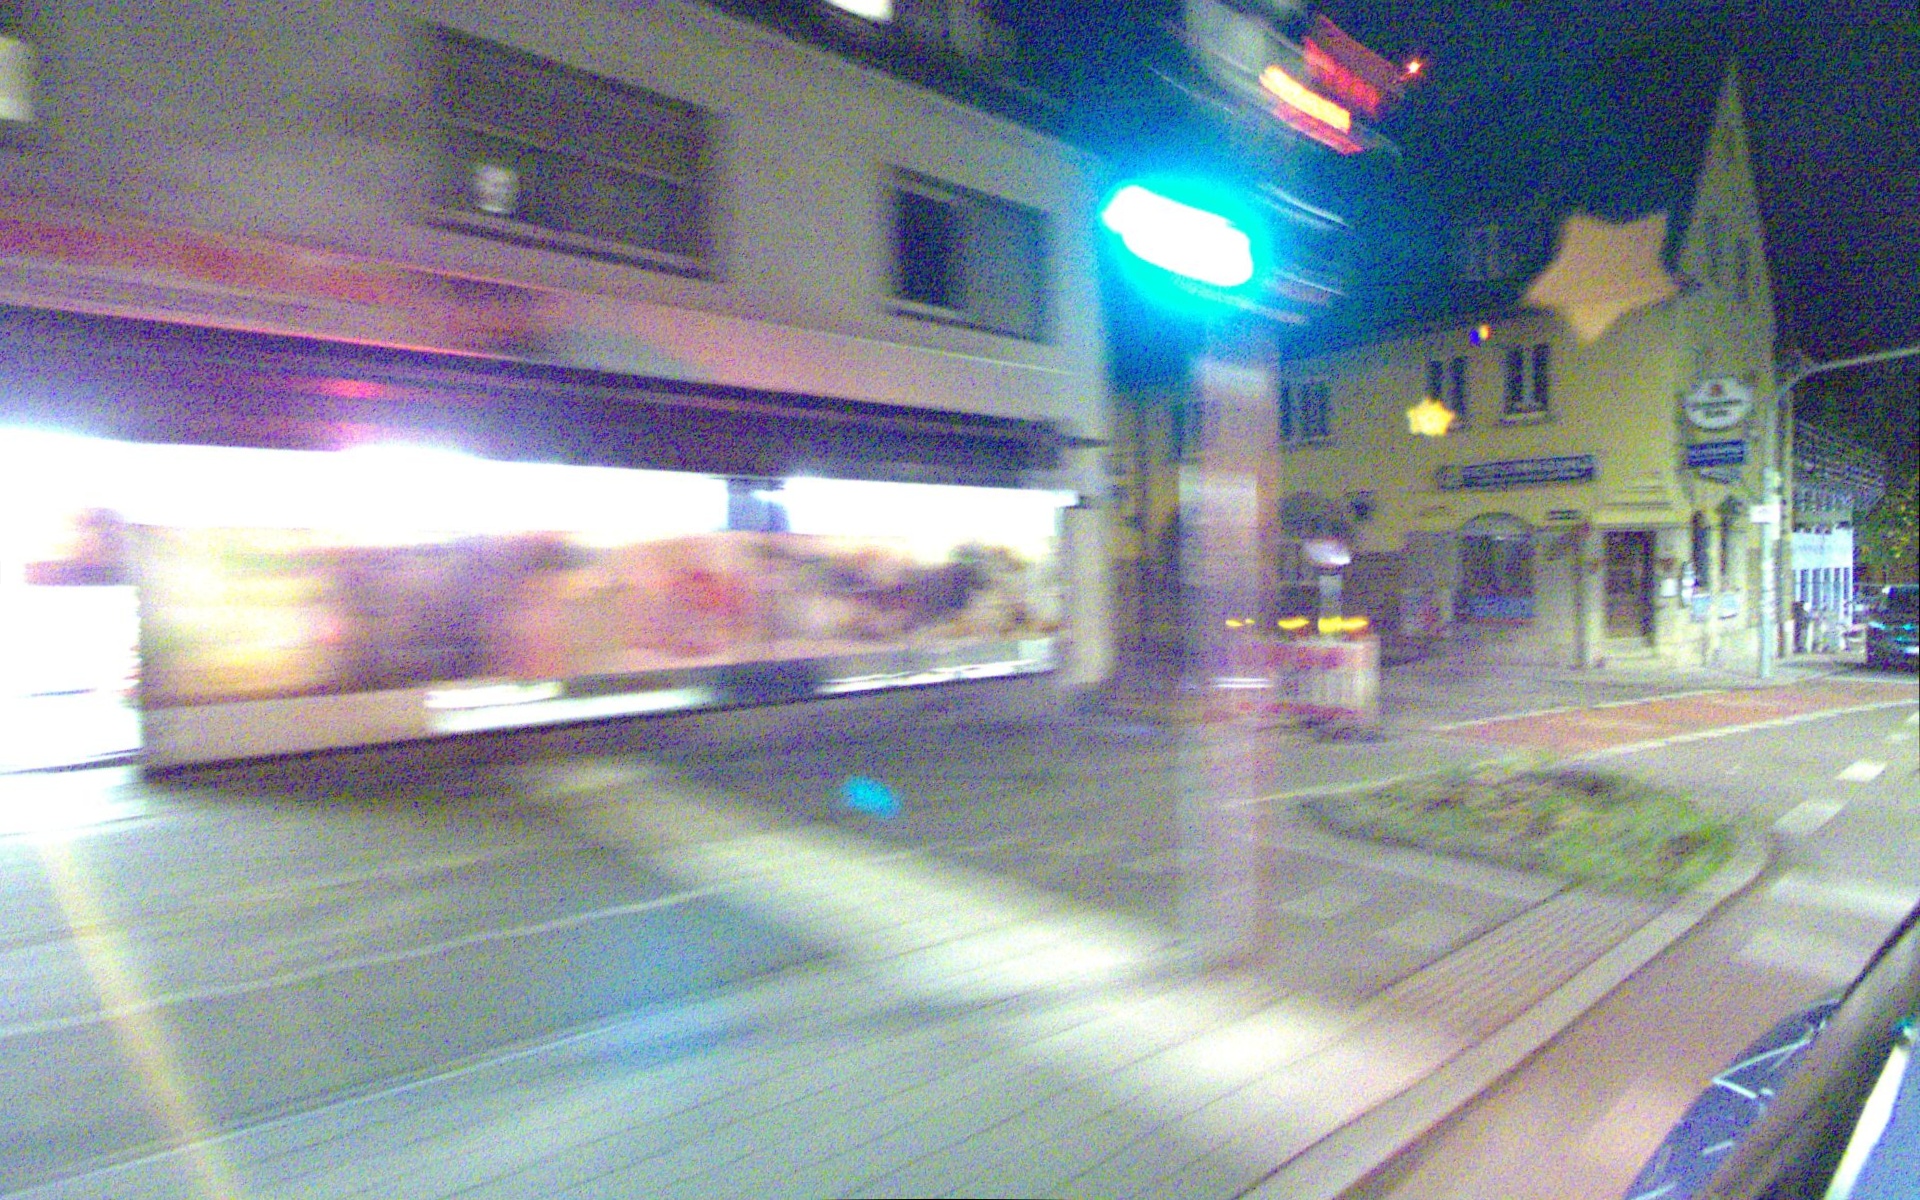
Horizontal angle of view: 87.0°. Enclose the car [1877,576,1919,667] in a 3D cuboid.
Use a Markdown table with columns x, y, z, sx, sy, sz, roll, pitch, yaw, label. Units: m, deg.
| x | y | z | sx | sy | sz | roll | pitch | yaw | label |
| --- | --- | --- | --- | --- | --- | --- | --- | --- | --- |
| 21.593 | 0.436 | 22.137 | 4.818 | 1.850 | 1.913 | 0 | 0 | -43 | car |
